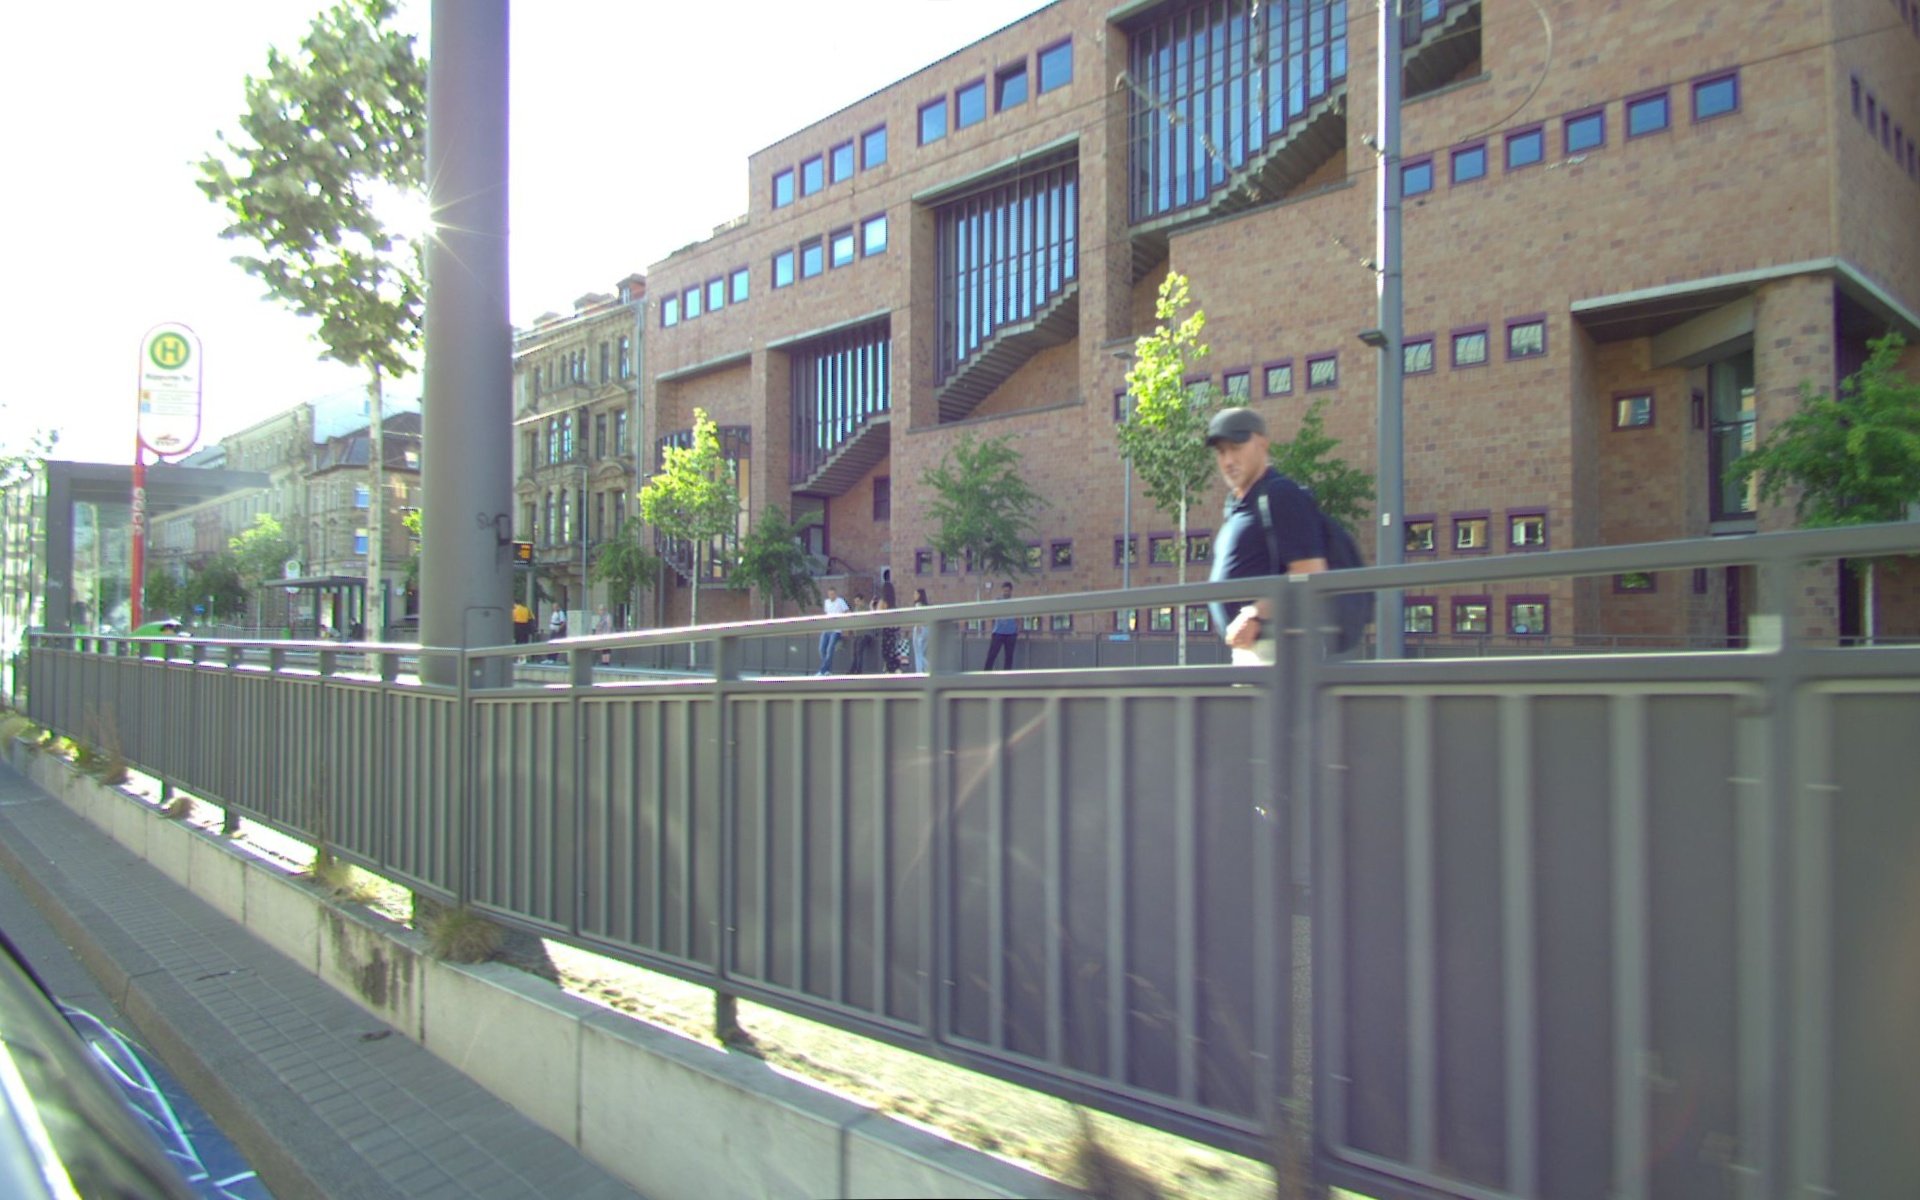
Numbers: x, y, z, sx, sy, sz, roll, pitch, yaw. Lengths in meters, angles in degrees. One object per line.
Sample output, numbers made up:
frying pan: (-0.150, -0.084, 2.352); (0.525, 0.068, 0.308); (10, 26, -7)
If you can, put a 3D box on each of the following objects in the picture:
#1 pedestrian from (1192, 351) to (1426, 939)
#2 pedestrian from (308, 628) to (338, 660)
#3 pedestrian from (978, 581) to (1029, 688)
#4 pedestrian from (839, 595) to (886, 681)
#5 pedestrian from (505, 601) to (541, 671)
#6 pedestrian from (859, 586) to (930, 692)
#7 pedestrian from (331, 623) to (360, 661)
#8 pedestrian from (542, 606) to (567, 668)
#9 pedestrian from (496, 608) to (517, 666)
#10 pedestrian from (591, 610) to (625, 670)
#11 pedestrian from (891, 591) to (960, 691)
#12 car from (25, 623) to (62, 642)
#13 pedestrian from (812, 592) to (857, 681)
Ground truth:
pedestrian: (1.130, 0.129, 3.271); (0.521, 1.682, 0.542); (-2, -1, 41)
pedestrian: (-23.338, 1.612, 37.098); (0.721, 1.177, 0.713); (-2, -4, 41)
pedestrian: (0.735, 0.575, 17.027); (0.616, 1.751, 0.575); (-2, -1, 41)
pedestrian: (-1.876, 0.722, 19.476); (0.616, 1.624, 0.616); (-2, -1, 41)
pedestrian: (-10.991, 0.897, 25.430); (0.541, 1.708, 0.633); (-2, 0, 41)
pedestrian: (-1.061, 0.611, 16.344); (0.945, 1.655, 0.633); (-2, 0, 42)
pedestrian: (-21.754, 1.493, 35.817); (0.721, 1.319, 0.639); (-2, -4, 41)
pedestrian: (-10.921, 0.991, 27.243); (0.553, 1.633, 0.374); (-2, 0, 42)
pedestrian: (-12.988, 1.053, 28.990); (0.416, 1.661, 0.374); (-2, 0, 41)
pedestrian: (-8.855, 0.993, 25.459); (0.642, 1.470, 0.533); (-2, 0, 41)
pedestrian: (-0.583, 0.669, 16.875); (0.945, 1.620, 0.633); (-2, 0, 42)
car: (-93.110, 3.297, 102.800); (4.577, 1.894, 1.975); (-2, 0, 38)
pedestrian: (-2.475, 0.714, 20.004); (0.616, 1.728, 0.616); (-2, -1, 41)
